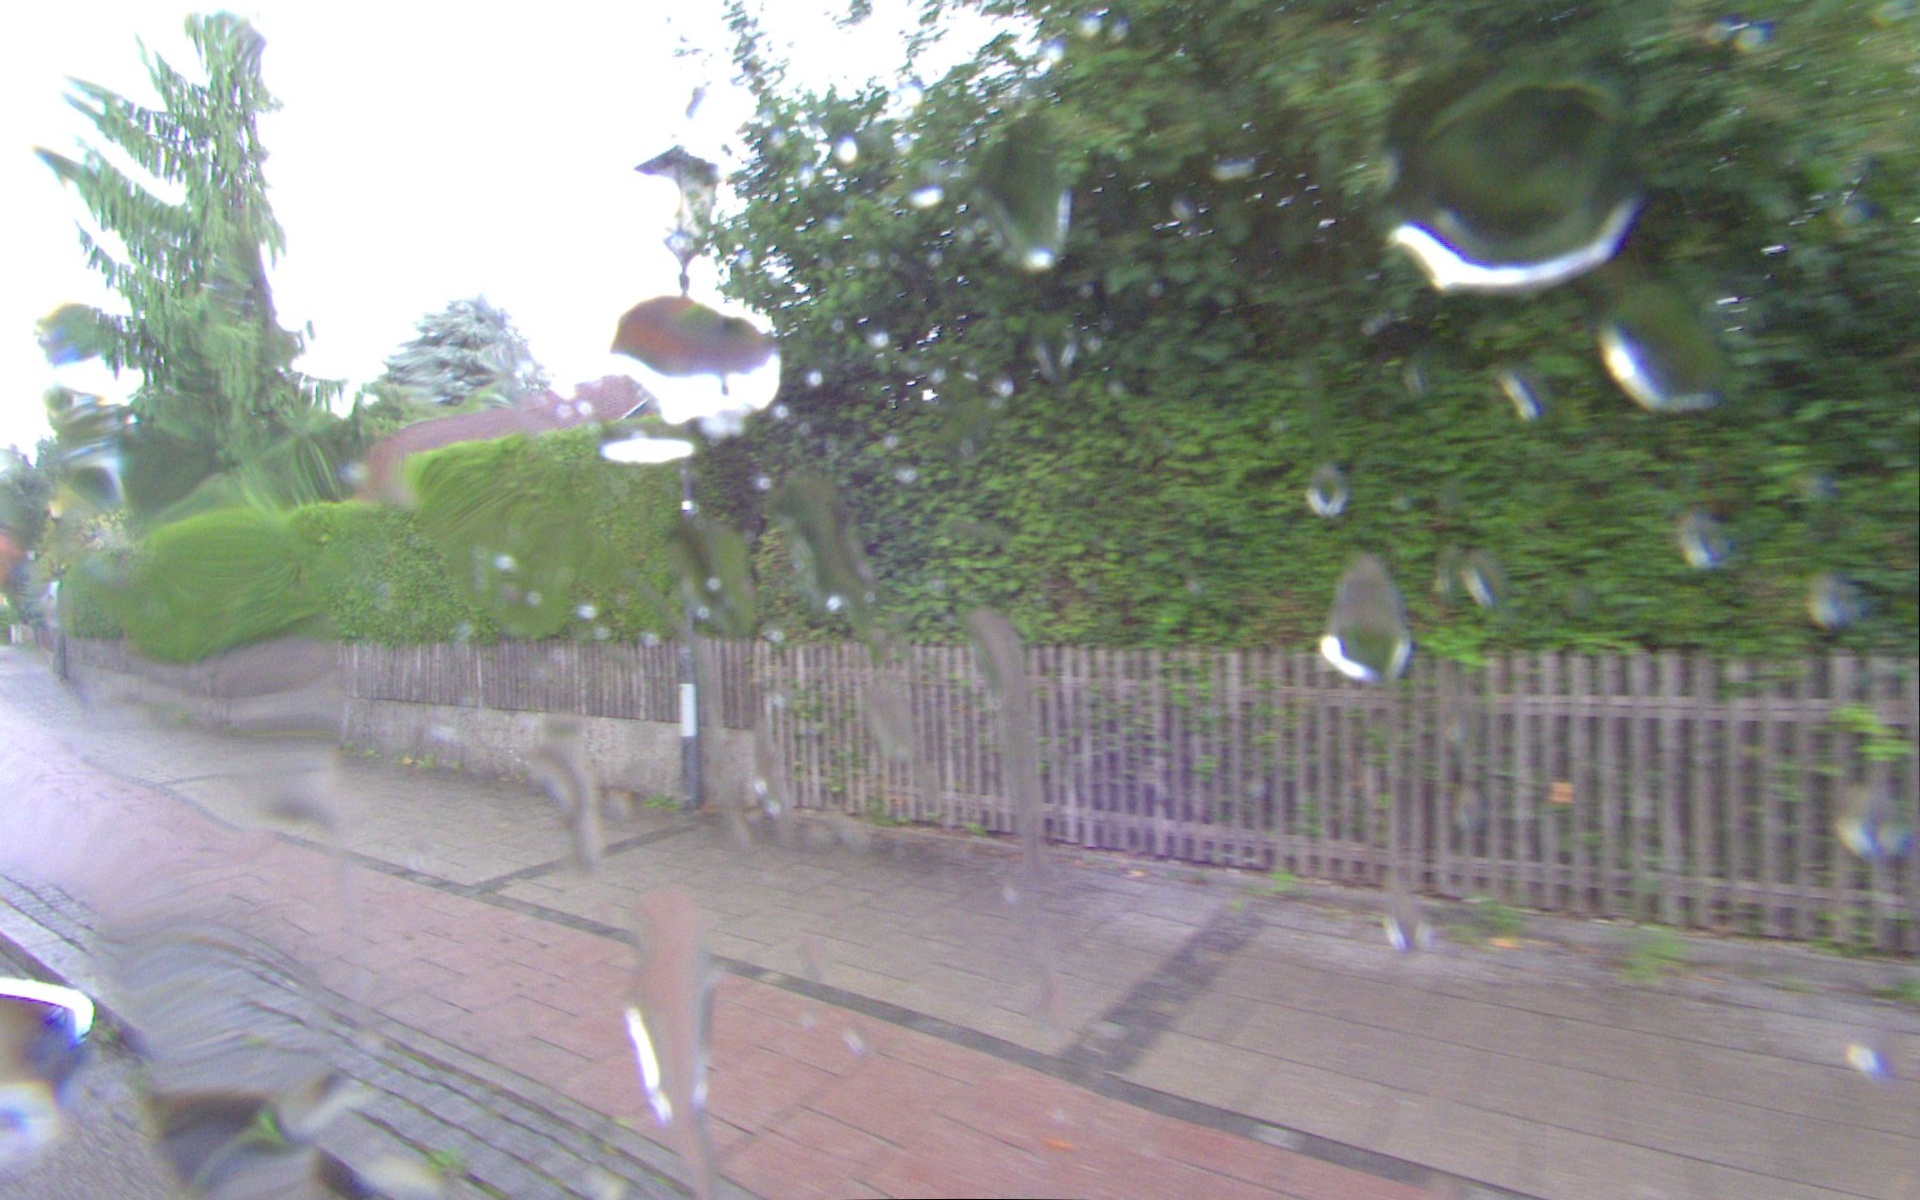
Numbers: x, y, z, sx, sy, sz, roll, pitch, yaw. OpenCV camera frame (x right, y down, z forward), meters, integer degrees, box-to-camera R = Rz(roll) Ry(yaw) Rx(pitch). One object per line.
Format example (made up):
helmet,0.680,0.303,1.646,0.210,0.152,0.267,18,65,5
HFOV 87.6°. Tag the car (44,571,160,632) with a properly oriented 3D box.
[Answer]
car,-33.062,0.123,38.566,4.881,2.201,1.991,-1,-2,32
